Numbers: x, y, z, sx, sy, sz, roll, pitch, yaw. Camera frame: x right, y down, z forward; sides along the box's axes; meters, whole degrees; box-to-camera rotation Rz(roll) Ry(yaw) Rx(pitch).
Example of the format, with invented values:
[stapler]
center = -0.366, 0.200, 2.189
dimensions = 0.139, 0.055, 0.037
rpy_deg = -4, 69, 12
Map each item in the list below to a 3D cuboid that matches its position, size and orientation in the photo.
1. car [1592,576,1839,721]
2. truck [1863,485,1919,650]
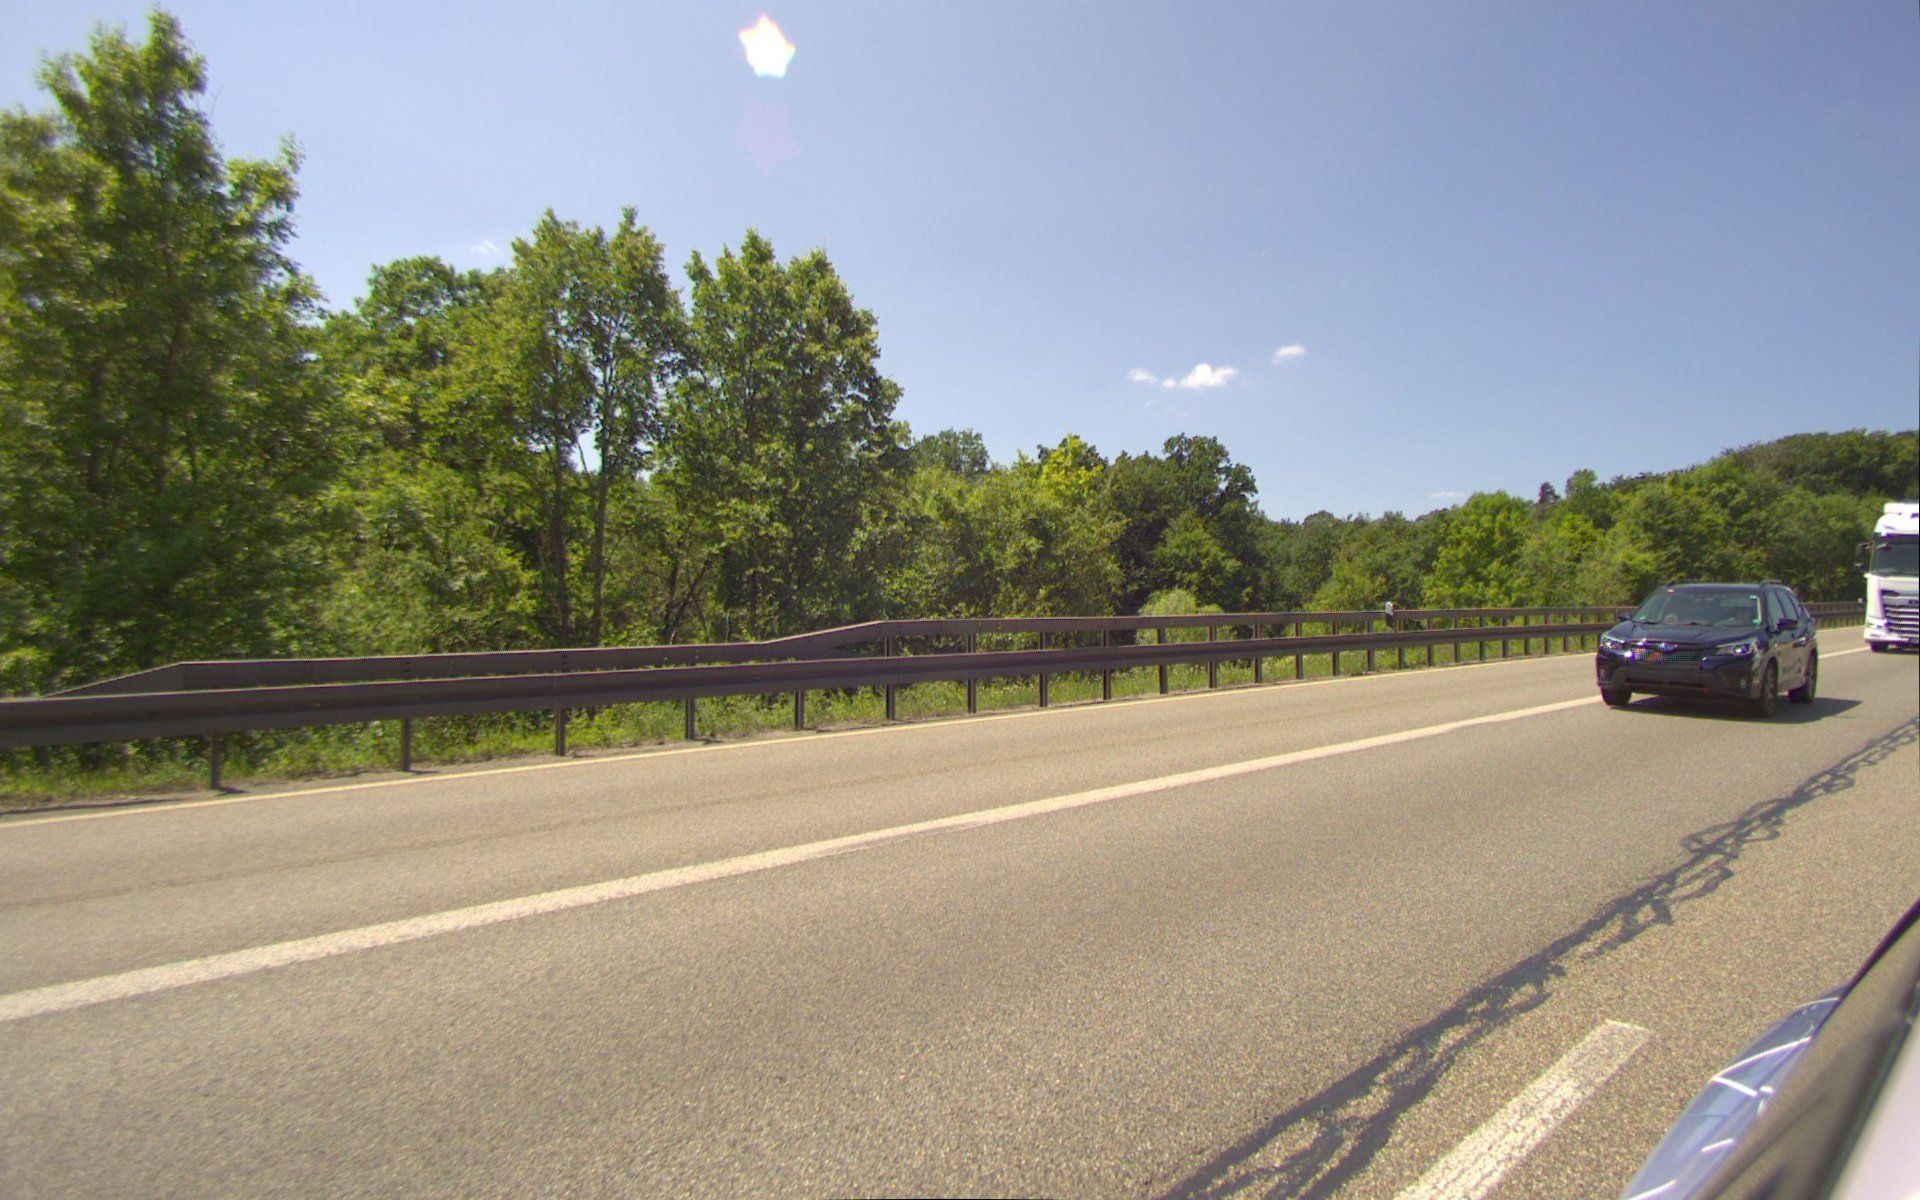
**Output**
[car]
center = 10.416, 0.529, 13.849
dimensions = 4.129, 1.688, 1.815
rpy_deg = -1, 1, -40
[truck]
center = 30.915, -0.922, 30.578
dimensions = 15.975, 4.220, 2.790
rpy_deg = -1, 2, -39
